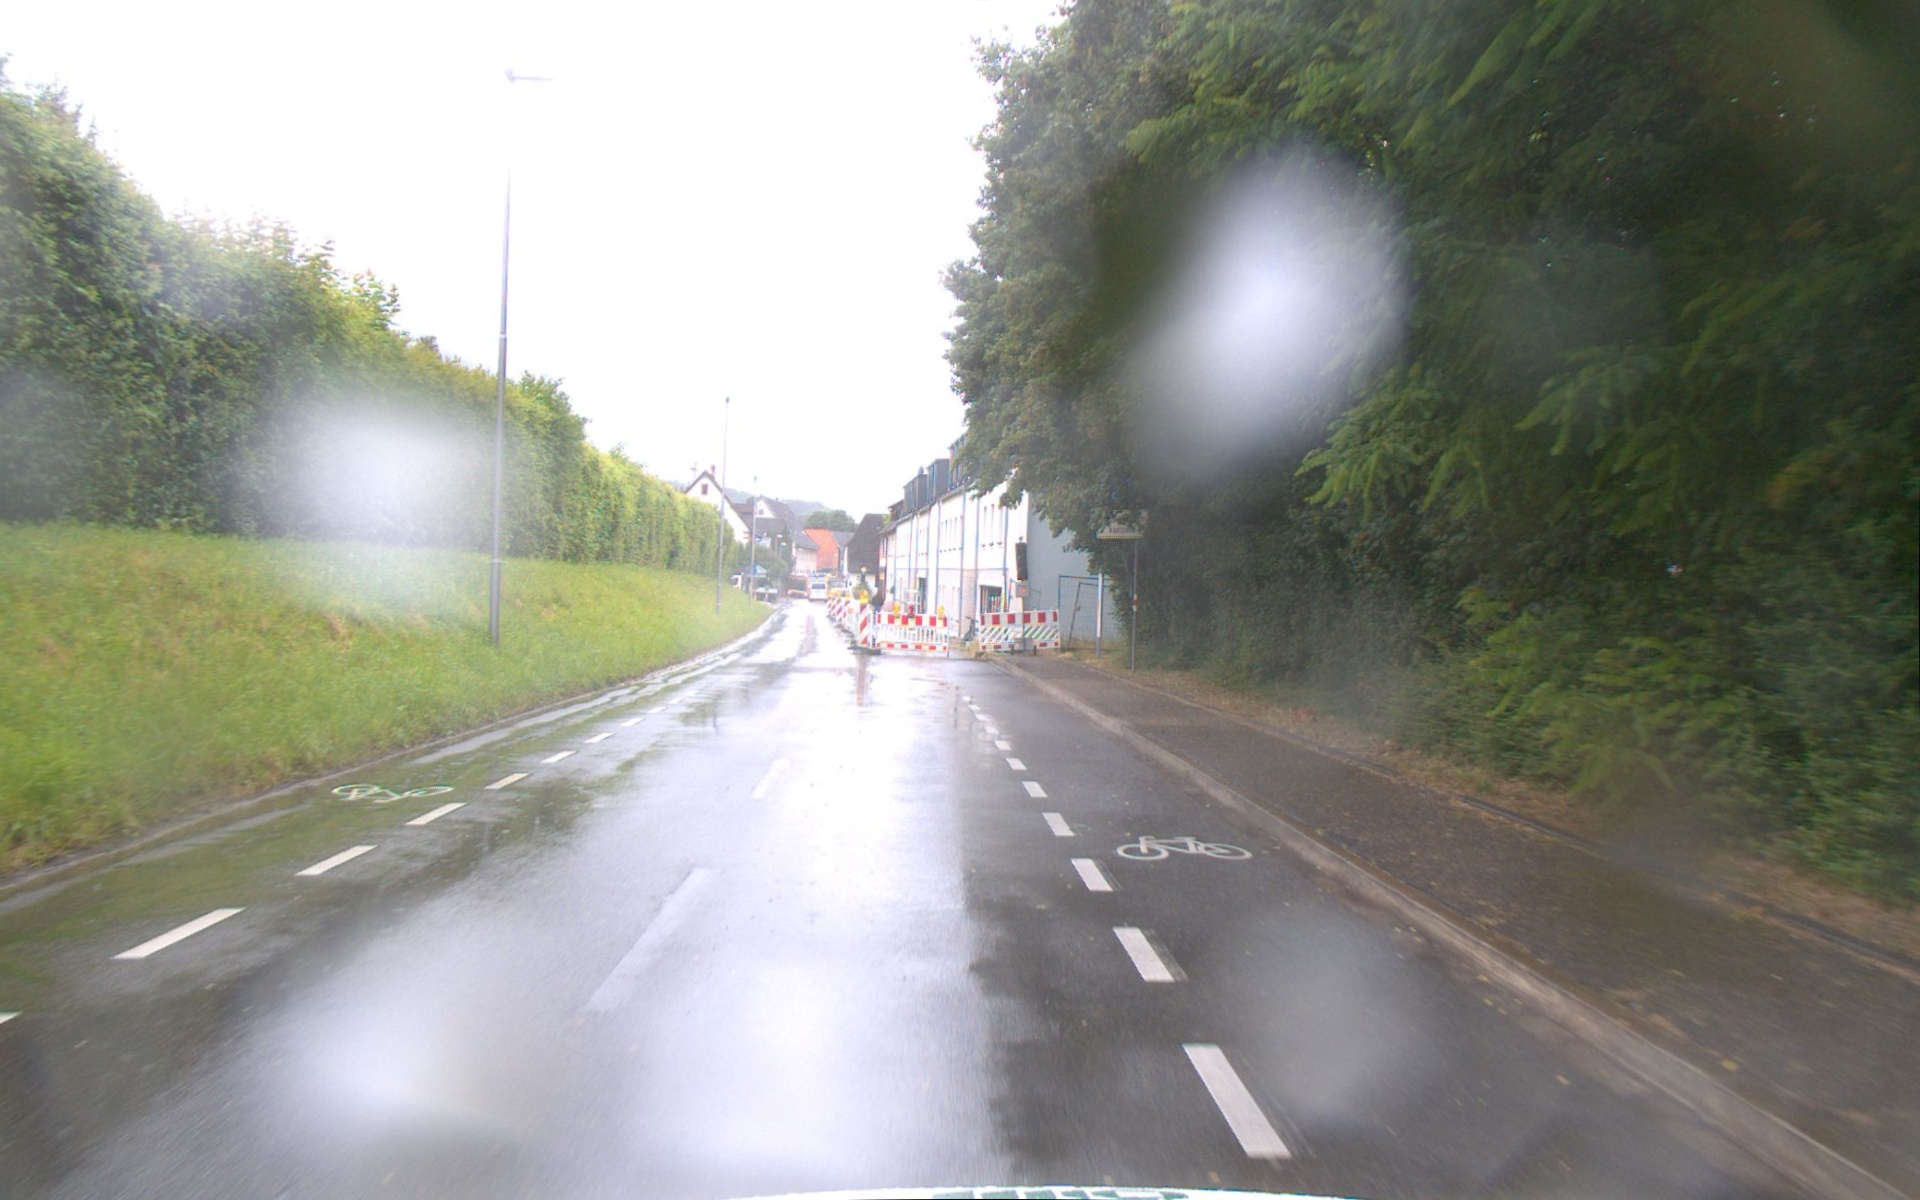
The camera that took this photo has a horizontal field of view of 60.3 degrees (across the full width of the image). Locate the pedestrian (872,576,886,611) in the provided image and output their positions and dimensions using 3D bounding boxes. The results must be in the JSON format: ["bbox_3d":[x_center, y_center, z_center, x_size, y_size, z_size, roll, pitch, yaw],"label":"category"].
[{"bbox_3d":[-4.065,-0.329,83.019,0.653,1.786,0.810,0,0,-8],"label":"pedestrian"}]

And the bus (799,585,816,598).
[{"bbox_3d":[-17.514,-0.962,190.014,1.759,1.434,3.998,3,0,-3],"label":"bus"}]

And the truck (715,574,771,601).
[{"bbox_3d":[-19.126,-1.103,145.680,4.796,2.048,1.997,3,2,-8],"label":"truck"}]

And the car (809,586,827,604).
[{"bbox_3d":[-14.660,-0.500,170.512,1.783,1.670,4.091,-4,1,-5],"label":"car"}]
